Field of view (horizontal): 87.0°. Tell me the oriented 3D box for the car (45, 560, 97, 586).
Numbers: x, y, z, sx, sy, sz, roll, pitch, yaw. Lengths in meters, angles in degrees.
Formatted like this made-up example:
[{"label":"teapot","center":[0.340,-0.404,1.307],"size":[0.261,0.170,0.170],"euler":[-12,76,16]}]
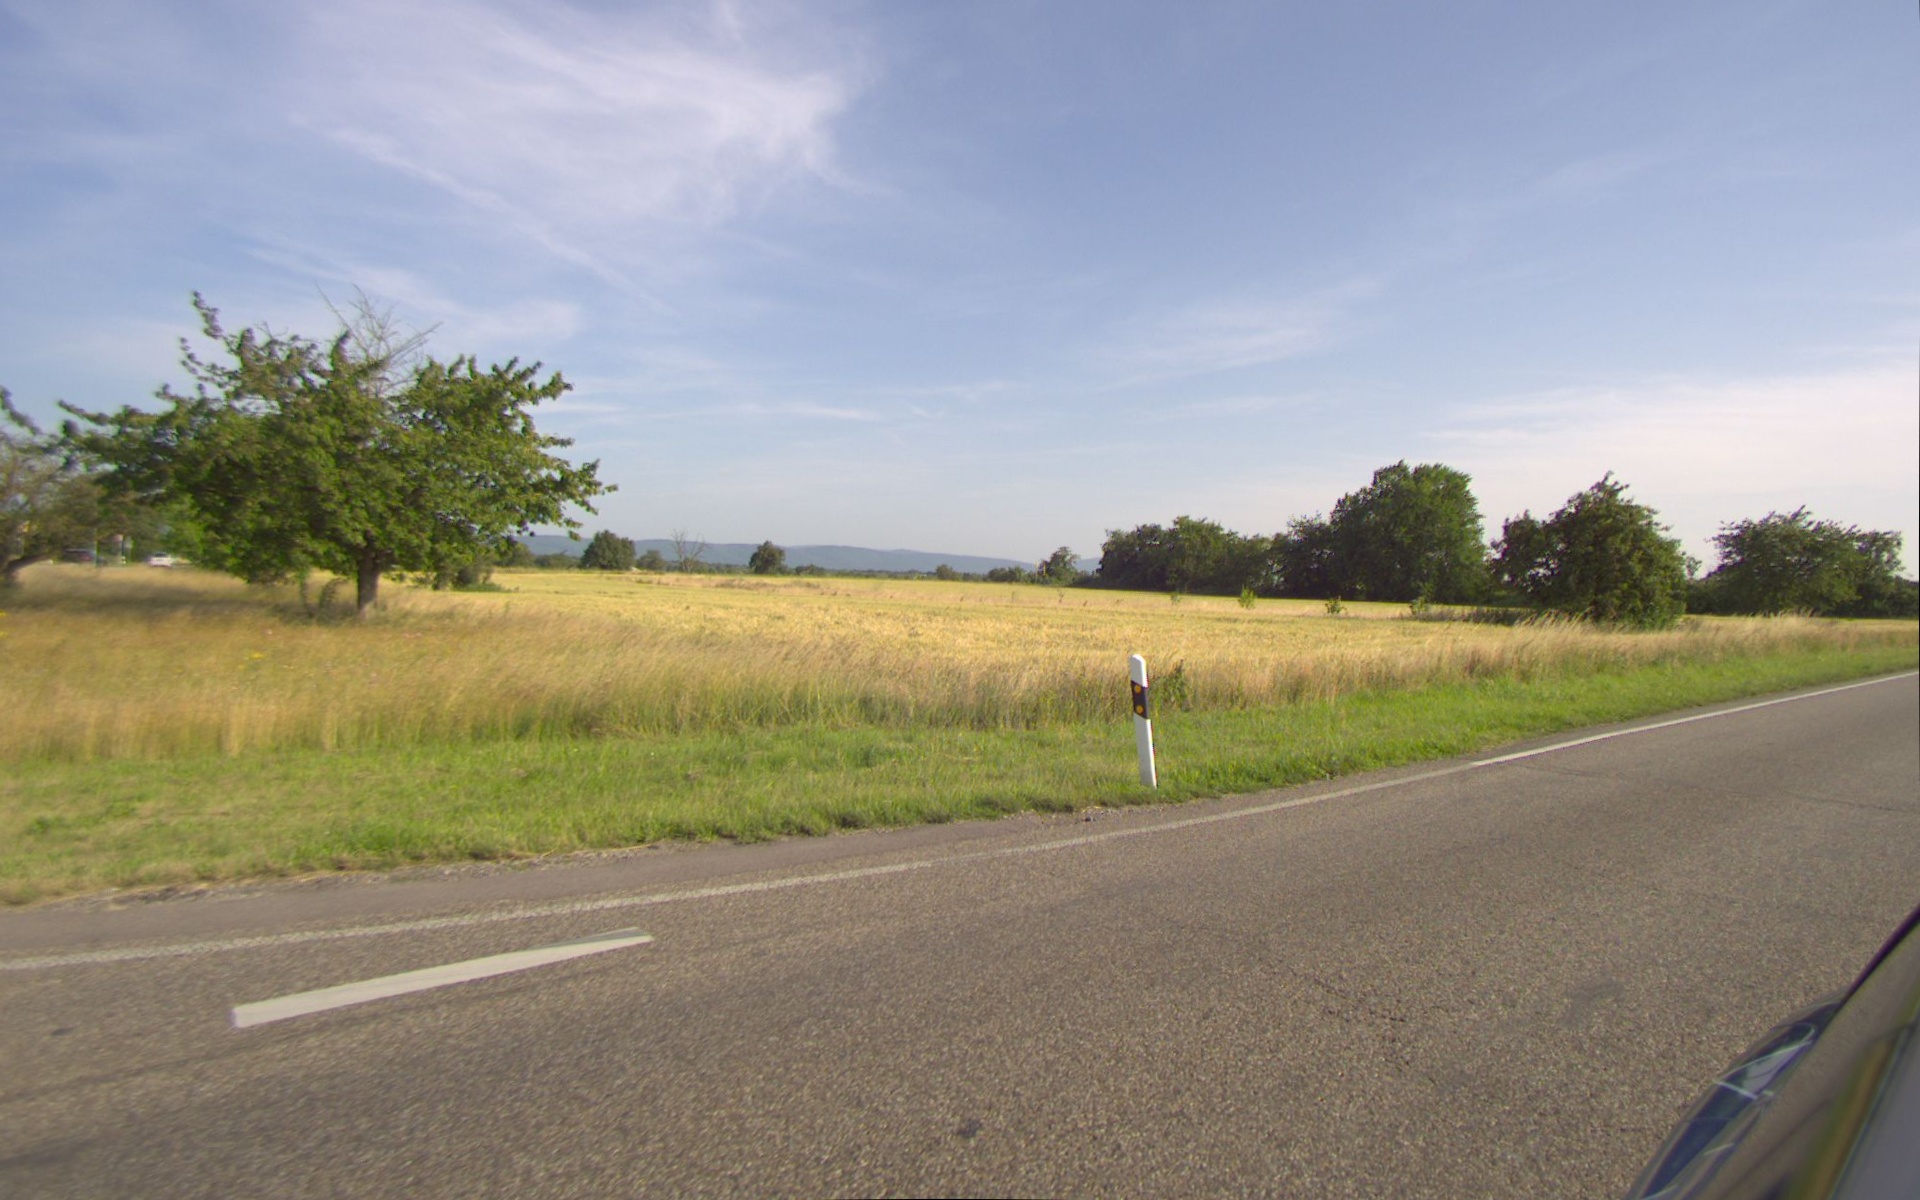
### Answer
[{"label":"car","center":[-61.456,-1.828,70.004],"size":[1.727,1.738,3.771],"euler":[0,0,-25]}]
